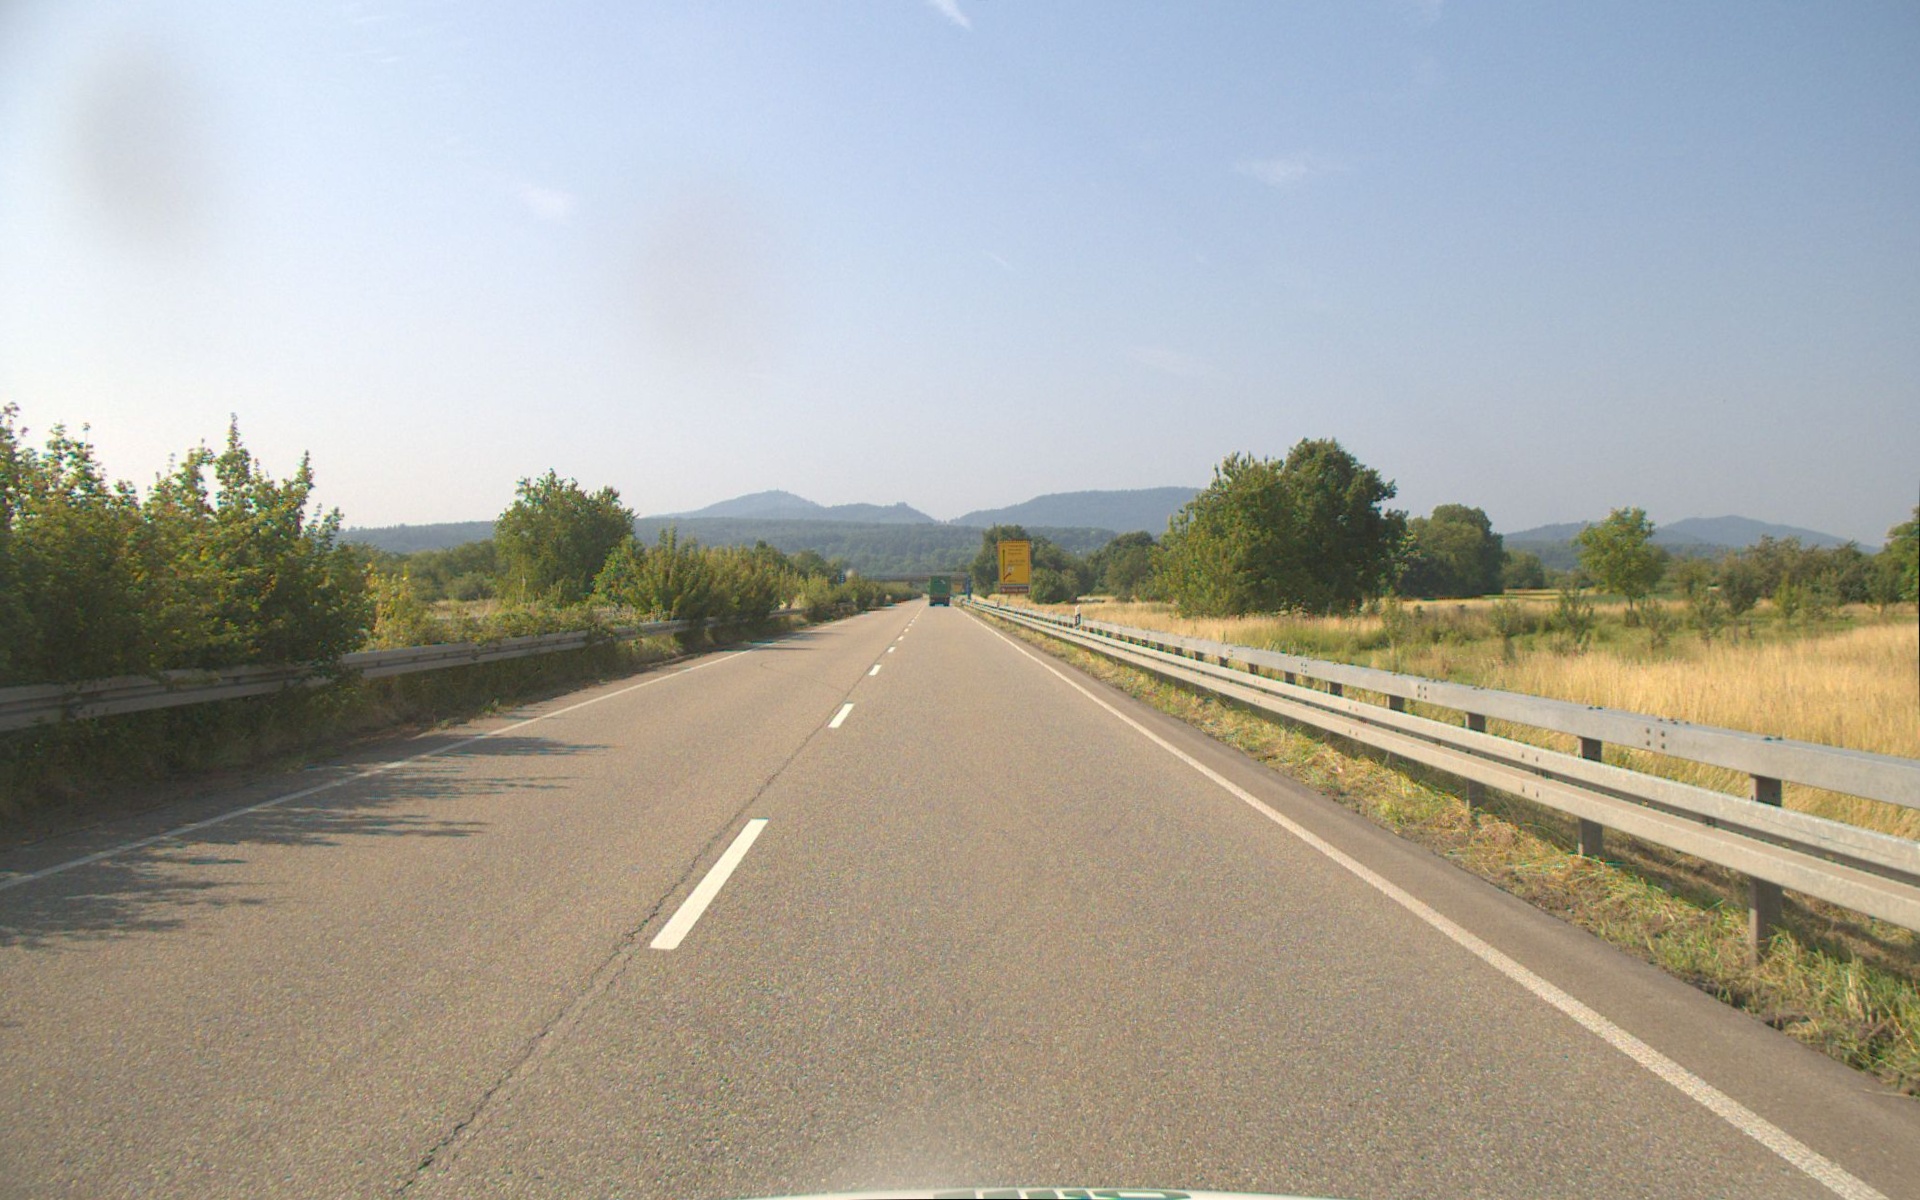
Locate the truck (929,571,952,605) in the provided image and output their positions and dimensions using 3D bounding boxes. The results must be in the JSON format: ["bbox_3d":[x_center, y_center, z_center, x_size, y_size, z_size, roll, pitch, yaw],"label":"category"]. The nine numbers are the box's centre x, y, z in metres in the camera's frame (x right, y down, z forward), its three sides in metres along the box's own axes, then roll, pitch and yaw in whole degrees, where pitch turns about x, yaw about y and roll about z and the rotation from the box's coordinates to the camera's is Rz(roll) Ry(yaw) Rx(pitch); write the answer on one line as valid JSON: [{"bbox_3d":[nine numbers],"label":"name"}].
[{"bbox_3d":[-2.413,-1.513,205.942,2.667,4.034,10.415,1,1,-1],"label":"truck"}]
